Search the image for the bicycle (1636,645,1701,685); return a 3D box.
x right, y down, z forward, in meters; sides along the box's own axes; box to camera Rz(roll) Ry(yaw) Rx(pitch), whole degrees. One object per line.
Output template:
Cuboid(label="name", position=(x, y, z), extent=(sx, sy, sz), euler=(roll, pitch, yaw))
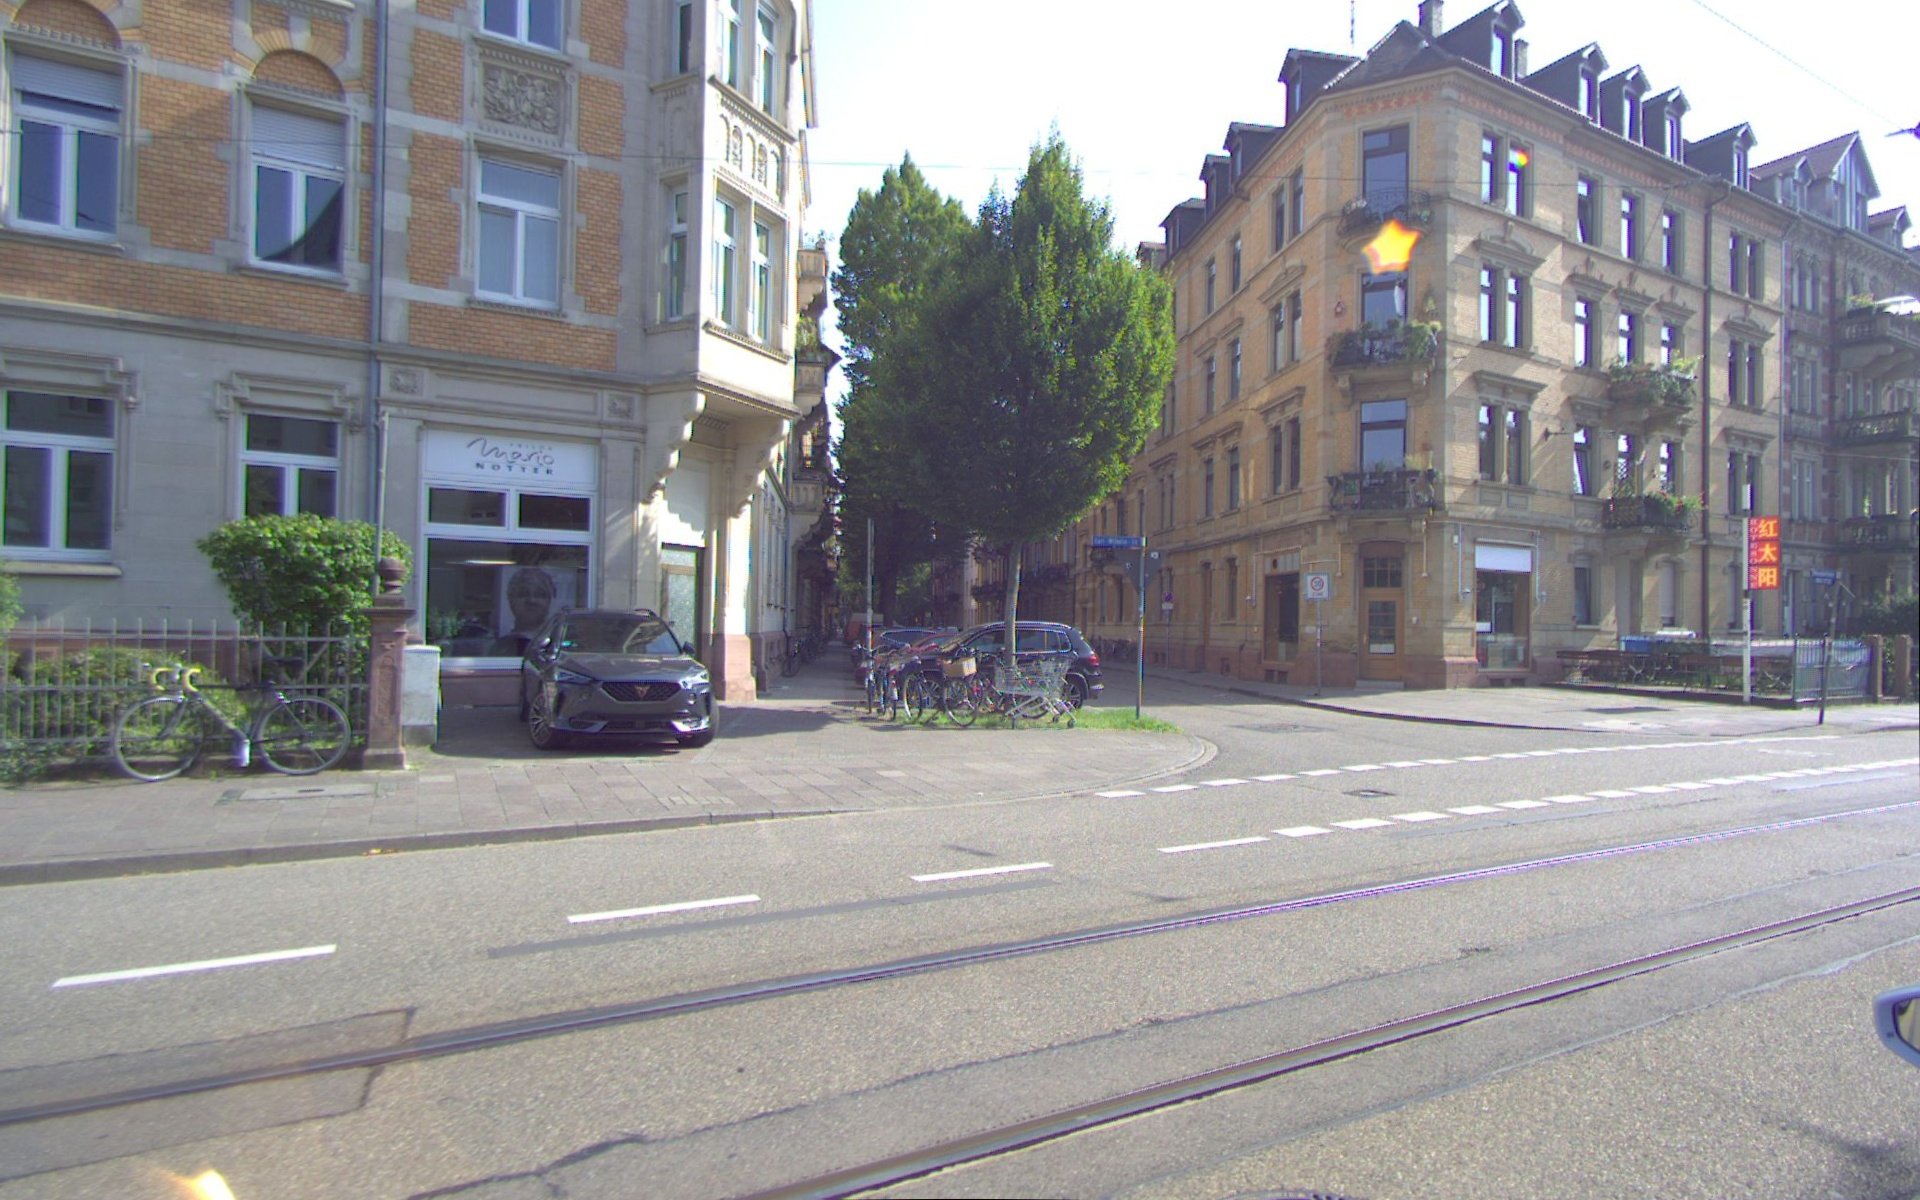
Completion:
Cuboid(label="bicycle", position=(20.012, 1.832, 28.399), extent=(0.412, 1.074, 1.476), euler=(2, -2, -30))

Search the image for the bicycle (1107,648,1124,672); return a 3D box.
Cuboid(label="bicycle", position=(7.206, 2.776, 46.606), extent=(0.409, 1.074, 1.360), euler=(1, -2, -9))

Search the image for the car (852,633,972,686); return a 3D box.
Cuboid(label="car", position=(-1.634, 1.970, 33.549), extent=(3.819, 1.627, 1.766), euler=(1, -2, -9))

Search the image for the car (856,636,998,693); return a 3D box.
Cuboid(label="car", position=(-0.987, 1.822, 28.618), extent=(3.873, 1.474, 1.766), euler=(2, -2, -8))

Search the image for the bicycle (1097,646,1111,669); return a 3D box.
Cuboid(label="bicycle", position=(6.909, 2.761, 48.179), extent=(0.409, 1.074, 1.362), euler=(1, -2, -1))

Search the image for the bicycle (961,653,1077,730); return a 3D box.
Cuboid(label="bicycle", position=(0.923, 1.431, 15.769), extent=(1.741, 1.175, 0.483), euler=(1, -2, -9))

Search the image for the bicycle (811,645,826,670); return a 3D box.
Cuboid(label="bicycle", position=(-6.473, 2.621, 45.985), extent=(0.582, 1.082, 2.010), euler=(1, -2, -7))

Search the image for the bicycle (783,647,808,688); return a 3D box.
Cuboid(label="bicycle", position=(-4.645, 1.897, 28.511), extent=(0.582, 1.082, 2.010), euler=(1, -2, -7))

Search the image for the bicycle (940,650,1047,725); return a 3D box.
Cuboid(label="bicycle", position=(0.582, 1.496, 17.251), extent=(1.743, 1.245, 0.541), euler=(2, -2, -15))

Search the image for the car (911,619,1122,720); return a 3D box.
Cuboid(label="car", position=(0.999, 1.292, 19.010), extent=(3.698, 1.682, 1.766), euler=(2, 0, -7))

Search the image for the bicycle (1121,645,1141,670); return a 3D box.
Cuboid(label="bicycle", position=(7.423, 2.488, 43.655), extent=(0.409, 1.074, 1.360), euler=(1, -2, -9))

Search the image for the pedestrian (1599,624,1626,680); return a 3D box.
Cuboid(label="pedestrian", position=(19.851, 1.573, 30.568), extent=(0.576, 1.689, 0.545), euler=(2, -2, -39))

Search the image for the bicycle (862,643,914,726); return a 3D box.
Cuboid(label="bicycle", position=(-1.206, 1.362, 16.554), extent=(0.534, 1.273, 1.768), euler=(1, -2, -14))

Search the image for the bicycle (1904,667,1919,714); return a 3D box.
Cuboid(label="bicycle", position=(24.412, 2.263, 25.174), extent=(1.978, 1.122, 0.506), euler=(2, -1, -29))

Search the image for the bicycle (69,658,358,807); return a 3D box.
Cuboid(label="bicycle", position=(-6.037, 1.042, 8.245), extent=(1.816, 1.072, 0.542), euler=(2, 3, -27))

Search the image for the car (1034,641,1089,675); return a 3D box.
Cuboid(label="car", position=(4.618, 2.631, 46.130), extent=(1.710, 1.387, 3.997), euler=(1, -2, -6))

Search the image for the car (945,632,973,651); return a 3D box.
Cuboid(label="car", position=(-0.089, 3.565, 86.318), extent=(1.962, 1.514, 3.997), euler=(1, -2, -6))

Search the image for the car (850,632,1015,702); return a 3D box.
Cuboid(label="car", position=(-0.709, 1.573, 23.980), extent=(3.701, 1.546, 1.765), euler=(1, -2, -10))

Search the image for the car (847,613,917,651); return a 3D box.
Cuboid(label="car", position=(-5.497, 2.227, 70.757), extent=(4.776, 2.556, 1.933), euler=(1, -1, -6))

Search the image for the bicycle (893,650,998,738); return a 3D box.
Cuboid(label="bicycle", position=(-0.244, 1.361, 14.969), extent=(0.538, 1.197, 1.842), euler=(2, -2, -38))

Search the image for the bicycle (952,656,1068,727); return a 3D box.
Cuboid(label="bicycle", position=(0.817, 1.488, 16.385), extent=(1.804, 1.104, 0.542), euler=(1, -2, -10))

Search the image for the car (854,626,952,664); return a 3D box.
Cuboid(label="car", position=(-2.761, 2.156, 48.536), extent=(4.459, 1.578, 1.764), euler=(4, -2, -12))

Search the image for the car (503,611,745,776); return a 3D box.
Cuboid(label="car", position=(-4.216, 0.978, 12.139), extent=(2.040, 1.563, 4.119), euler=(3, -1, -29))

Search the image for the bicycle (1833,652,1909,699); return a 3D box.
Cuboid(label="bicycle", position=(22.981, 1.883, 25.355), extent=(0.412, 1.074, 1.350), euler=(2, 0, -30))

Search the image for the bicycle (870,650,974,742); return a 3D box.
Cuboid(label="bicycle", position=(-0.588, 1.366, 14.686), extent=(0.538, 1.212, 1.833), euler=(2, -2, -38))
